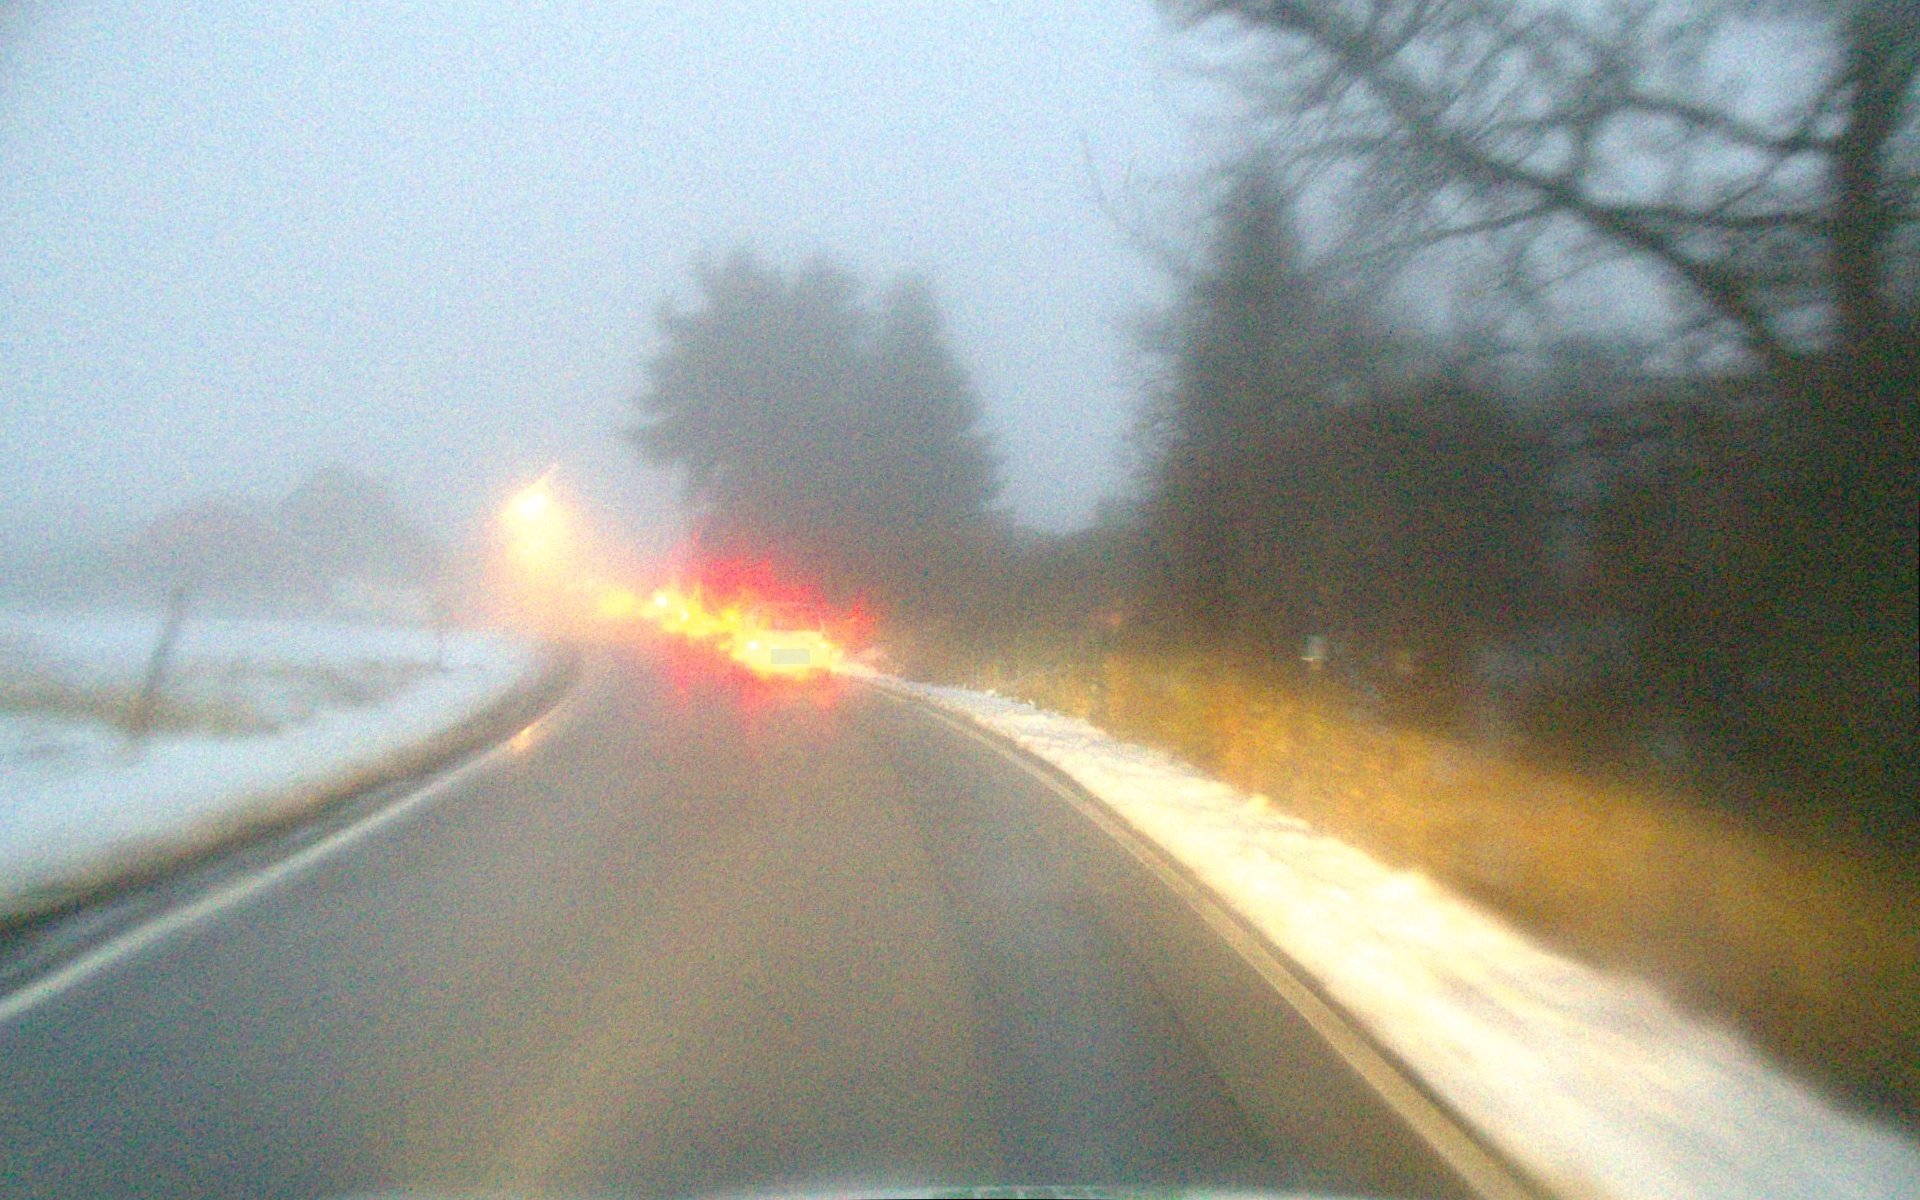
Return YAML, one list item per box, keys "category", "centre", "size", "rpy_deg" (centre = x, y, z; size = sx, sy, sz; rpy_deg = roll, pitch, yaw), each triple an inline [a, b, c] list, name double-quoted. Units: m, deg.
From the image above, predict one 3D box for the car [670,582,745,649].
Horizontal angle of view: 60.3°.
- category: "car"
  centre: [-7.093, 0.439, 46.226]
  size: [1.957, 1.780, 3.990]
  rpy_deg: [1, -1, -10]

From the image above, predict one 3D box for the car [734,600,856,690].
- category: "car"
  centre: [-3.122, 0.806, 30.626]
  size: [1.957, 1.534, 3.991]
  rpy_deg: [1, -1, -10]
